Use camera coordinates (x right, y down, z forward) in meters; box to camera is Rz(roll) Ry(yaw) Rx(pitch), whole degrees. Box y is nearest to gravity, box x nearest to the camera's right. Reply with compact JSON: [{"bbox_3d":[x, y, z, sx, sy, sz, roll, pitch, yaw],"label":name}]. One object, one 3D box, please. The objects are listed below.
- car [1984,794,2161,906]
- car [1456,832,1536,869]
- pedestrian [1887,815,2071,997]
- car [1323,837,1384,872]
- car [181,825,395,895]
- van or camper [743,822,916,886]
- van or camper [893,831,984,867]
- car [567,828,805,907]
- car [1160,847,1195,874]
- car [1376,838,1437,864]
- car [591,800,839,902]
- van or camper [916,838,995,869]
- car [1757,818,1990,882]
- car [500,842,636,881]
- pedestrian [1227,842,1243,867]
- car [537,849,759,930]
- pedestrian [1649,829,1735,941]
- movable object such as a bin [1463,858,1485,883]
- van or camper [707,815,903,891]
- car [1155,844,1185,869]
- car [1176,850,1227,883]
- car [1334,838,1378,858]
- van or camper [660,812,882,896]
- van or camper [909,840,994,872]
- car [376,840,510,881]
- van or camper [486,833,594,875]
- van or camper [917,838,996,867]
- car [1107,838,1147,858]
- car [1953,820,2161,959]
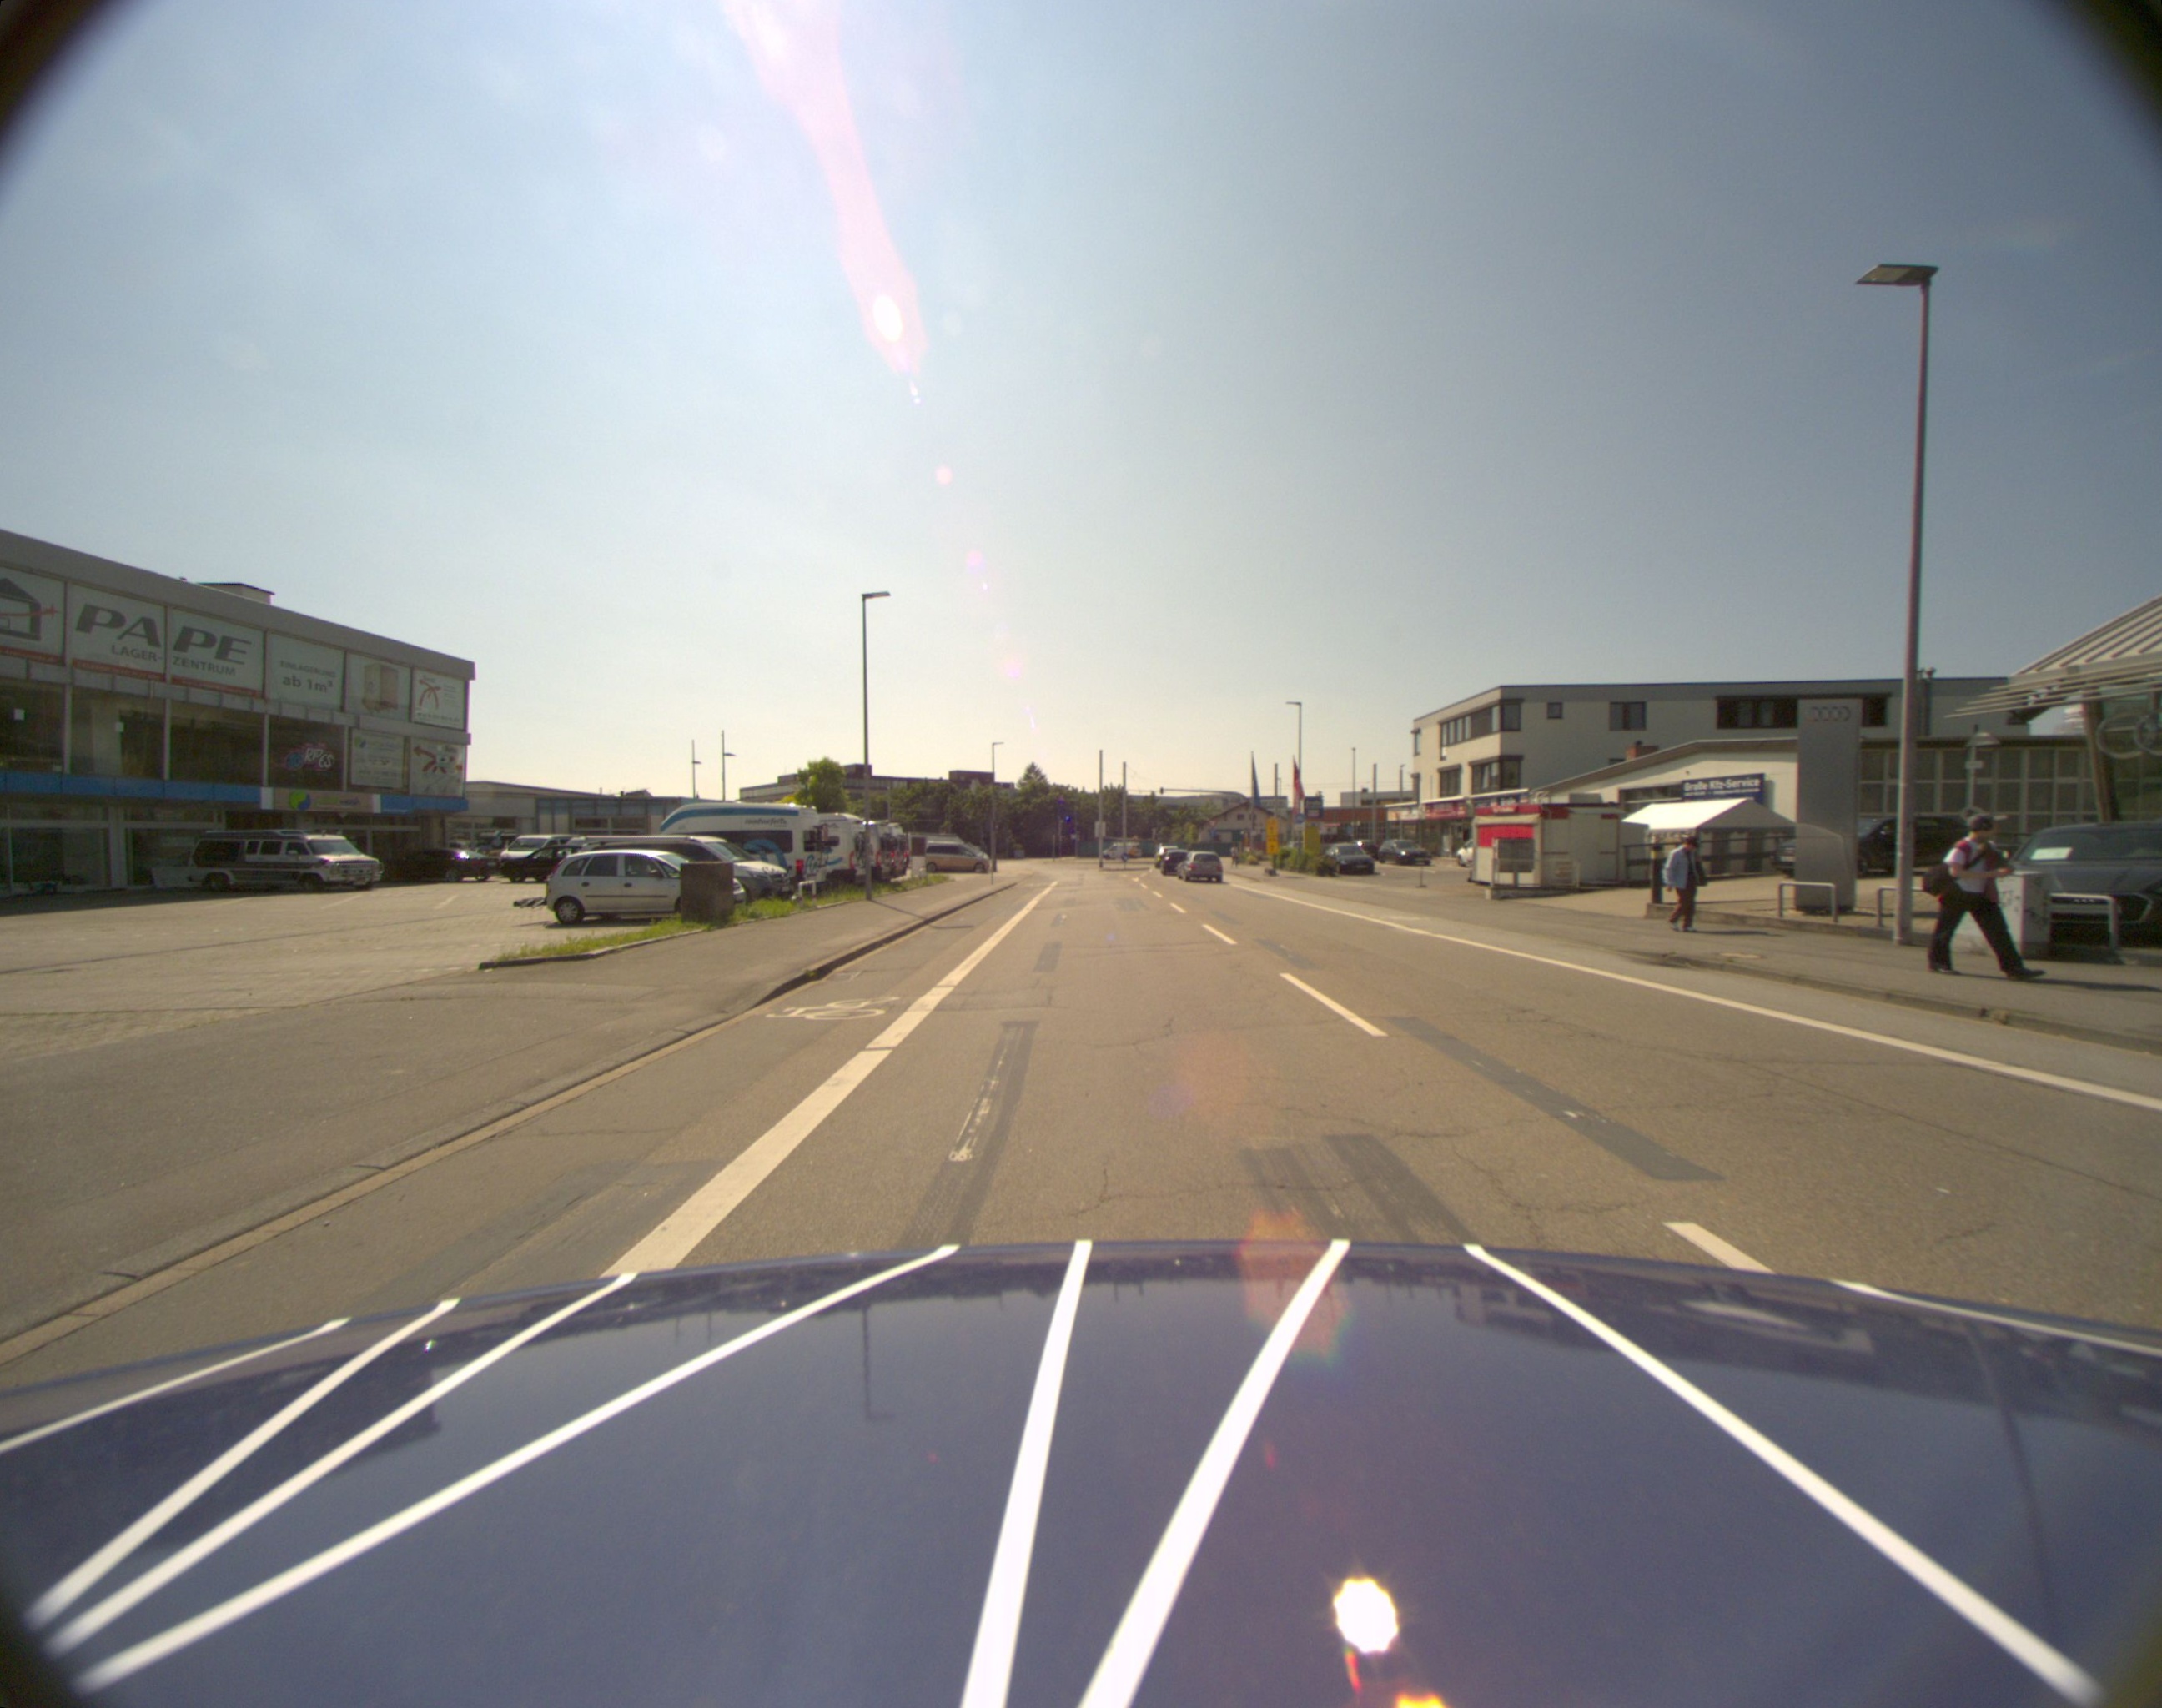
[{"bbox_3d":[18.150,-0.100,11.912,2.001,1.710,4.726,-4,2,-14],"label":"car"},{"bbox_3d":[21.118,-0.210,38.903,1.911,1.699,4.478,0,3,5],"label":"car"},{"bbox_3d":[9.702,0.525,8.268,0.734,1.857,1.047,0,1,0],"label":"pedestrian"},{"bbox_3d":[14.030,-0.009,39.351,1.909,1.705,4.000,0,1,3],"label":"car"},{"bbox_3d":[-28.713,0.198,27.668,5.310,2.405,2.325,0,1,0],"label":"car"},{"bbox_3d":[-10.206,-0.013,31.267,6.211,2.510,2.618,0,1,1],"label":"van or camper"},{"bbox_3d":[-10.853,-0.399,58.127,6.375,2.621,2.526,-1,1,-35],"label":"van or camper"},{"bbox_3d":[-10.325,0.327,20.167,5.247,1.941,2.000,0,1,0],"label":"car"},{"bbox_3d":[5.442,0.337,43.261,1.664,1.446,4.241,1,1,4],"label":"car"},{"bbox_3d":[18.809,-0.179,44.164,1.911,1.413,4.419,0,1,4],"label":"car"},{"bbox_3d":[-10.732,-0.096,22.654,6.243,2.853,2.320,0,1,1],"label":"car"},{"bbox_3d":[-8.682,-0.067,52.618,4.990,2.034,2.037,0,2,-30],"label":"van or camper"},{"bbox_3d":[20.508,-0.099,19.808,3.996,1.516,1.897,-1,1,2],"label":"car"},{"bbox_3d":[-22.635,0.311,33.669,4.550,1.668,1.999,0,1,-3],"label":"car"},{"bbox_3d":[10.285,0.011,50.770,0.995,1.676,0.800,0,1,12],"label":"pedestrian"},{"bbox_3d":[-9.731,0.760,17.341,3.932,1.584,1.797,-2,1,-3],"label":"car"},{"bbox_3d":[10.367,0.504,12.932,0.725,1.838,0.911,0,1,2],"label":"pedestrian"},{"bbox_3d":[15.289,0.624,29.554,0.572,0.917,0.690,-3,0,14],"label":"movable object such as a bin"},{"bbox_3d":[-10.217,-0.037,28.613,6.365,2.701,2.712,0,1,1],"label":"van or camper"},{"bbox_3d":[6.470,0.136,55.491,1.897,1.748,4.353,0,1,4],"label":"car"},{"bbox_3d":[5.658,0.545,36.104,1.746,1.396,4.324,1,1,0],"label":"car"},{"bbox_3d":[20.324,-0.464,56.331,1.911,1.380,4.485,0,1,4],"label":"car"},{"bbox_3d":[-10.305,-0.016,25.766,6.365,2.685,2.712,0,1,1],"label":"van or camper"},{"bbox_3d":[-8.448,0.113,49.682,5.145,1.950,1.981,0,2,-30],"label":"van or camper"},{"bbox_3d":[-27.967,0.274,33.422,4.117,1.723,1.999,0,1,-3],"label":"car"},{"bbox_3d":[-27.596,-0.020,39.014,2.123,2.002,5.112,0,1,-5],"label":"van or camper"},{"bbox_3d":[-9.101,-0.130,55.762,5.148,2.064,2.446,-1,1,-31],"label":"van or camper"},{"bbox_3d":[5.662,-0.756,94.328,4.423,1.938,1.999,6,8,25],"label":"car"},{"bbox_3d":[13.861,0.363,10.204,4.166,1.451,1.904,-4,0,-28],"label":"car"}]
